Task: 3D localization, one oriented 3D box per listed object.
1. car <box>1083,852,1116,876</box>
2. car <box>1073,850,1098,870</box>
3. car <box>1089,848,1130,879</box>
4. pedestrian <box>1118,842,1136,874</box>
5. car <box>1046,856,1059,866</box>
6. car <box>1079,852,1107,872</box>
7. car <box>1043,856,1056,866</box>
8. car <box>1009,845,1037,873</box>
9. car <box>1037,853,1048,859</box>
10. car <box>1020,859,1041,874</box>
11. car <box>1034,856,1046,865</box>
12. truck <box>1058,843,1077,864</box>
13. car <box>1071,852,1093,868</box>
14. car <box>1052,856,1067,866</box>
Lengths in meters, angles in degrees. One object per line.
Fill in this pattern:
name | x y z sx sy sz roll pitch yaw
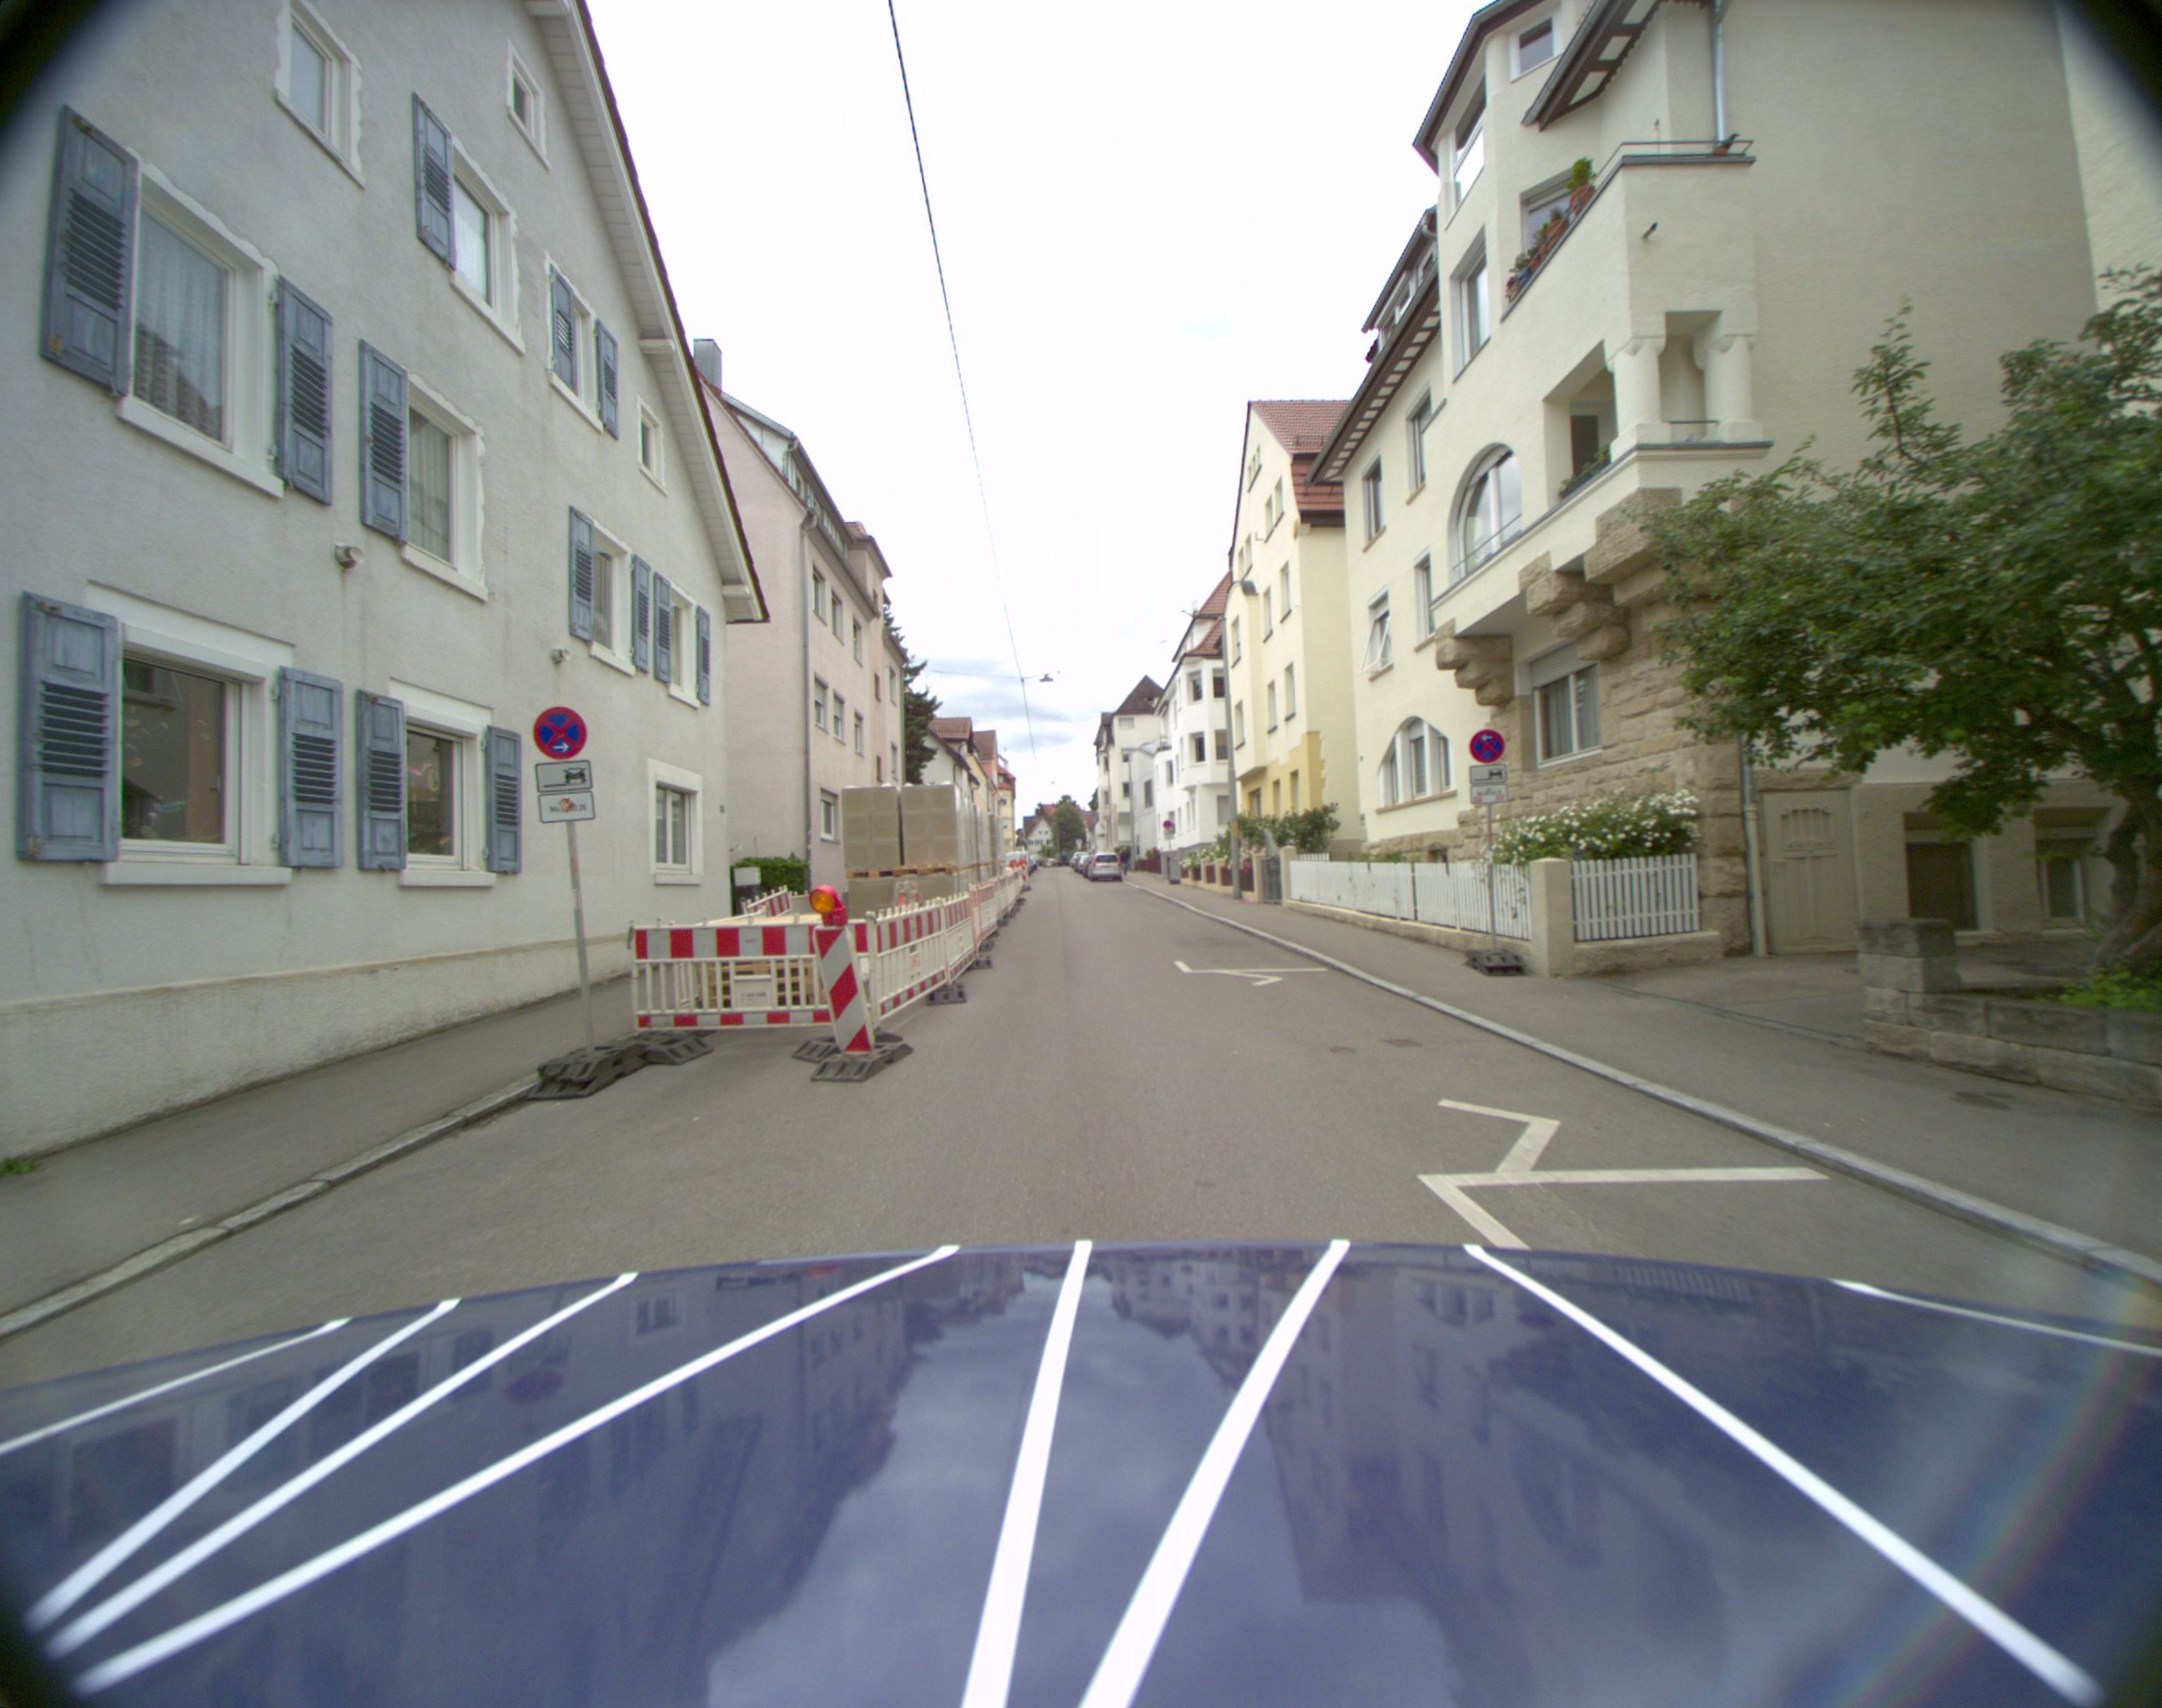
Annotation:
car | 1.138 0.594 48.829 1.850 1.449 4.503 -1 1 -2
car | 0.368 0.461 64.372 1.901 1.518 4.469 -2 1 -2
car | 1.553 0.532 43.044 1.850 1.621 4.285 -2 0 -4
pedestrian | 2.819 0.246 46.230 0.817 1.873 0.848 -1 1 20
car | -4.787 1.137 127.041 1.856 1.640 3.944 0 -1 -7
car | 0.881 0.583 59.163 1.850 1.405 5.060 -2 1 -2
car | -5.582 1.219 133.522 1.856 1.641 3.943 0 0 -9
car | -4.537 0.404 60.530 1.910 2.018 5.731 -3 0 -2
car | -8.238 0.424 163.268 1.856 1.441 3.943 0 0 -9
car | -5.016 1.243 76.255 1.857 1.395 4.291 -3 0 -2
car | -7.780 1.210 144.979 1.856 1.641 3.943 0 0 -9
truck | -1.909 -0.019 103.381 2.317 2.536 6.288 0 -2 -3
car | 0.059 0.581 75.283 1.850 1.507 4.239 -2 0 -4
car | -3.290 1.037 115.017 1.856 1.454 3.944 0 -1 -7
